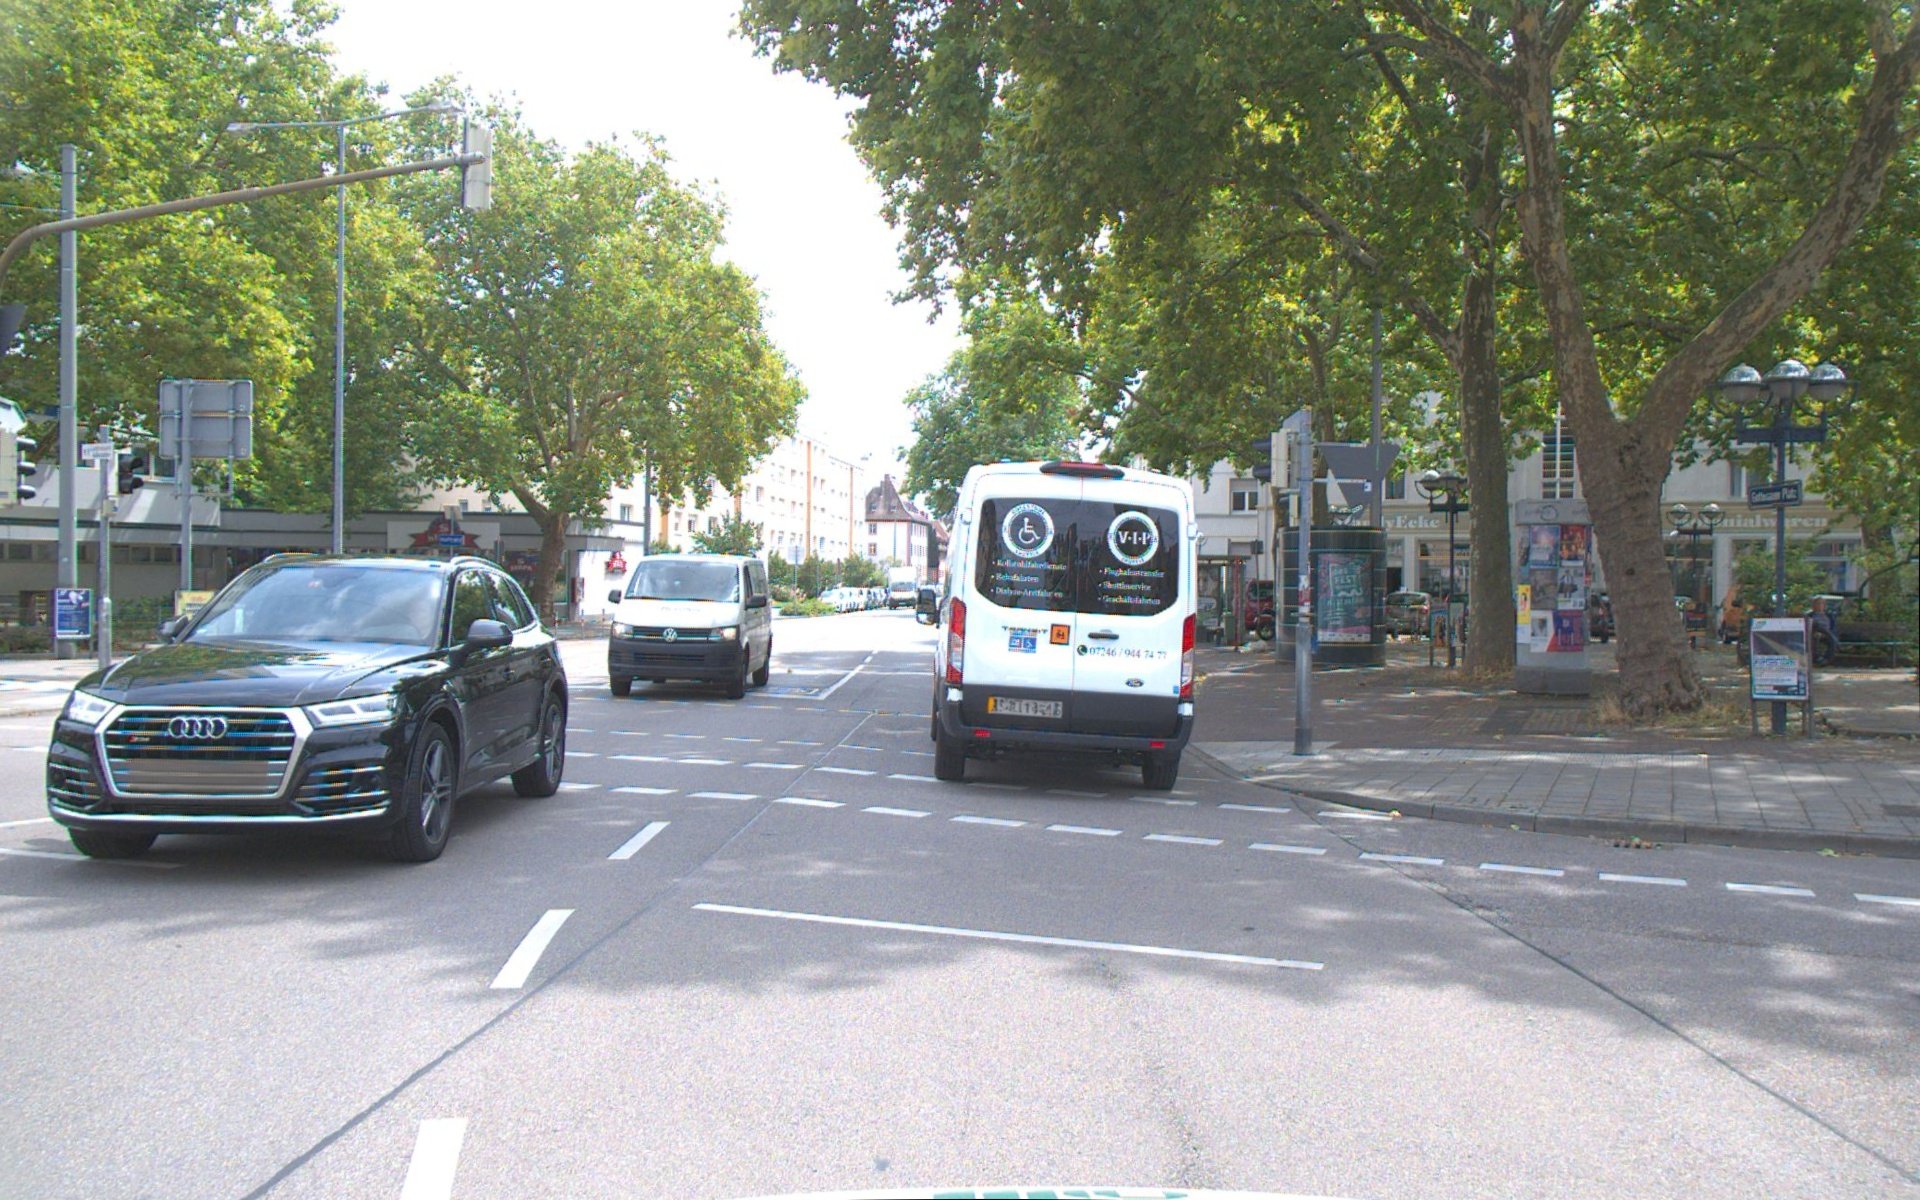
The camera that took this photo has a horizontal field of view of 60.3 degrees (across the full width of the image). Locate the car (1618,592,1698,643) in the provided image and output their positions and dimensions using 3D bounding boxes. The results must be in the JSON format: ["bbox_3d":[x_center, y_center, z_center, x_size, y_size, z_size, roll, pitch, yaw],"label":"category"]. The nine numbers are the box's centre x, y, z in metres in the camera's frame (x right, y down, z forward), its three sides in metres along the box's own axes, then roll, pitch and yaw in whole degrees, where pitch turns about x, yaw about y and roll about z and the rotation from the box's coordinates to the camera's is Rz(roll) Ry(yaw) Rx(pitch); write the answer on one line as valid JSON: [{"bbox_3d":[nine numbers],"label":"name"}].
[{"bbox_3d":[21.460,0.502,50.988,1.952,1.489,4.002,0,0,18],"label":"car"}]

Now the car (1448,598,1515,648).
[{"bbox_3d":[16.539,0.693,52.379,1.952,1.489,4.002,0,0,18],"label":"car"}]

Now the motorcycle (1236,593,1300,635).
[{"bbox_3d":[9.362,0.430,50.250,1.817,1.244,0.530,0,1,-5],"label":"motorcycle"}]

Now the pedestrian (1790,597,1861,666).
[{"bbox_3d":[15.962,0.566,30.537,1.073,1.234,1.140,0,0,23],"label":"pedestrian"}]

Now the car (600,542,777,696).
[{"bbox_3d":[-3.835,0.217,24.170,1.885,1.970,4.946,1,1,-2],"label":"car"}]

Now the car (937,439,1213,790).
[{"bbox_3d":[0.894,0.132,14.611,2.027,2.585,4.635,1,-1,1],"label":"car"}]

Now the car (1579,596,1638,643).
[{"bbox_3d":[23.629,0.679,60.354,1.952,1.618,4.195,1,0,21],"label":"car"}]

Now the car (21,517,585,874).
[{"bbox_3d":[-3.648,0.433,10.146,1.785,1.676,4.426,1,1,-2],"label":"car"}]

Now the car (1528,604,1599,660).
[{"bbox_3d":[18.810,0.967,51.705,1.952,1.627,4.002,0,0,18],"label":"car"}]

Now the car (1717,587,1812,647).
[{"bbox_3d":[24.135,0.478,49.766,1.952,1.724,4.562,0,0,18],"label":"car"}]

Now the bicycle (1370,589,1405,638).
[{"bbox_3d":[12.702,0.385,49.058,0.411,1.402,2.307,0,1,30],"label":"bicycle"}]

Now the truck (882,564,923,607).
[{"bbox_3d":[-4.349,-1.084,125.915,2.488,3.162,7.022,-1,0,2],"label":"truck"}]

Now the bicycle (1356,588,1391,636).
[{"bbox_3d":[12.388,0.366,49.547,0.411,1.402,2.307,0,0,30],"label":"bicycle"}]

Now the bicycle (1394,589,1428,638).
[{"bbox_3d":[13.331,0.379,48.842,0.411,1.402,2.307,0,1,30],"label":"bicycle"}]

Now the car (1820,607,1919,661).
[{"bbox_3d":[26.831,0.970,48.811,1.952,1.489,4.002,0,0,18],"label":"car"}]

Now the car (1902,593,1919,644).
[{"bbox_3d":[28.930,0.549,48.075,1.952,1.489,4.002,0,0,18],"label":"car"}]

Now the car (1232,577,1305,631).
[{"bbox_3d":[10.451,0.112,55.750,1.892,1.736,4.333,0,0,18],"label":"car"}]
